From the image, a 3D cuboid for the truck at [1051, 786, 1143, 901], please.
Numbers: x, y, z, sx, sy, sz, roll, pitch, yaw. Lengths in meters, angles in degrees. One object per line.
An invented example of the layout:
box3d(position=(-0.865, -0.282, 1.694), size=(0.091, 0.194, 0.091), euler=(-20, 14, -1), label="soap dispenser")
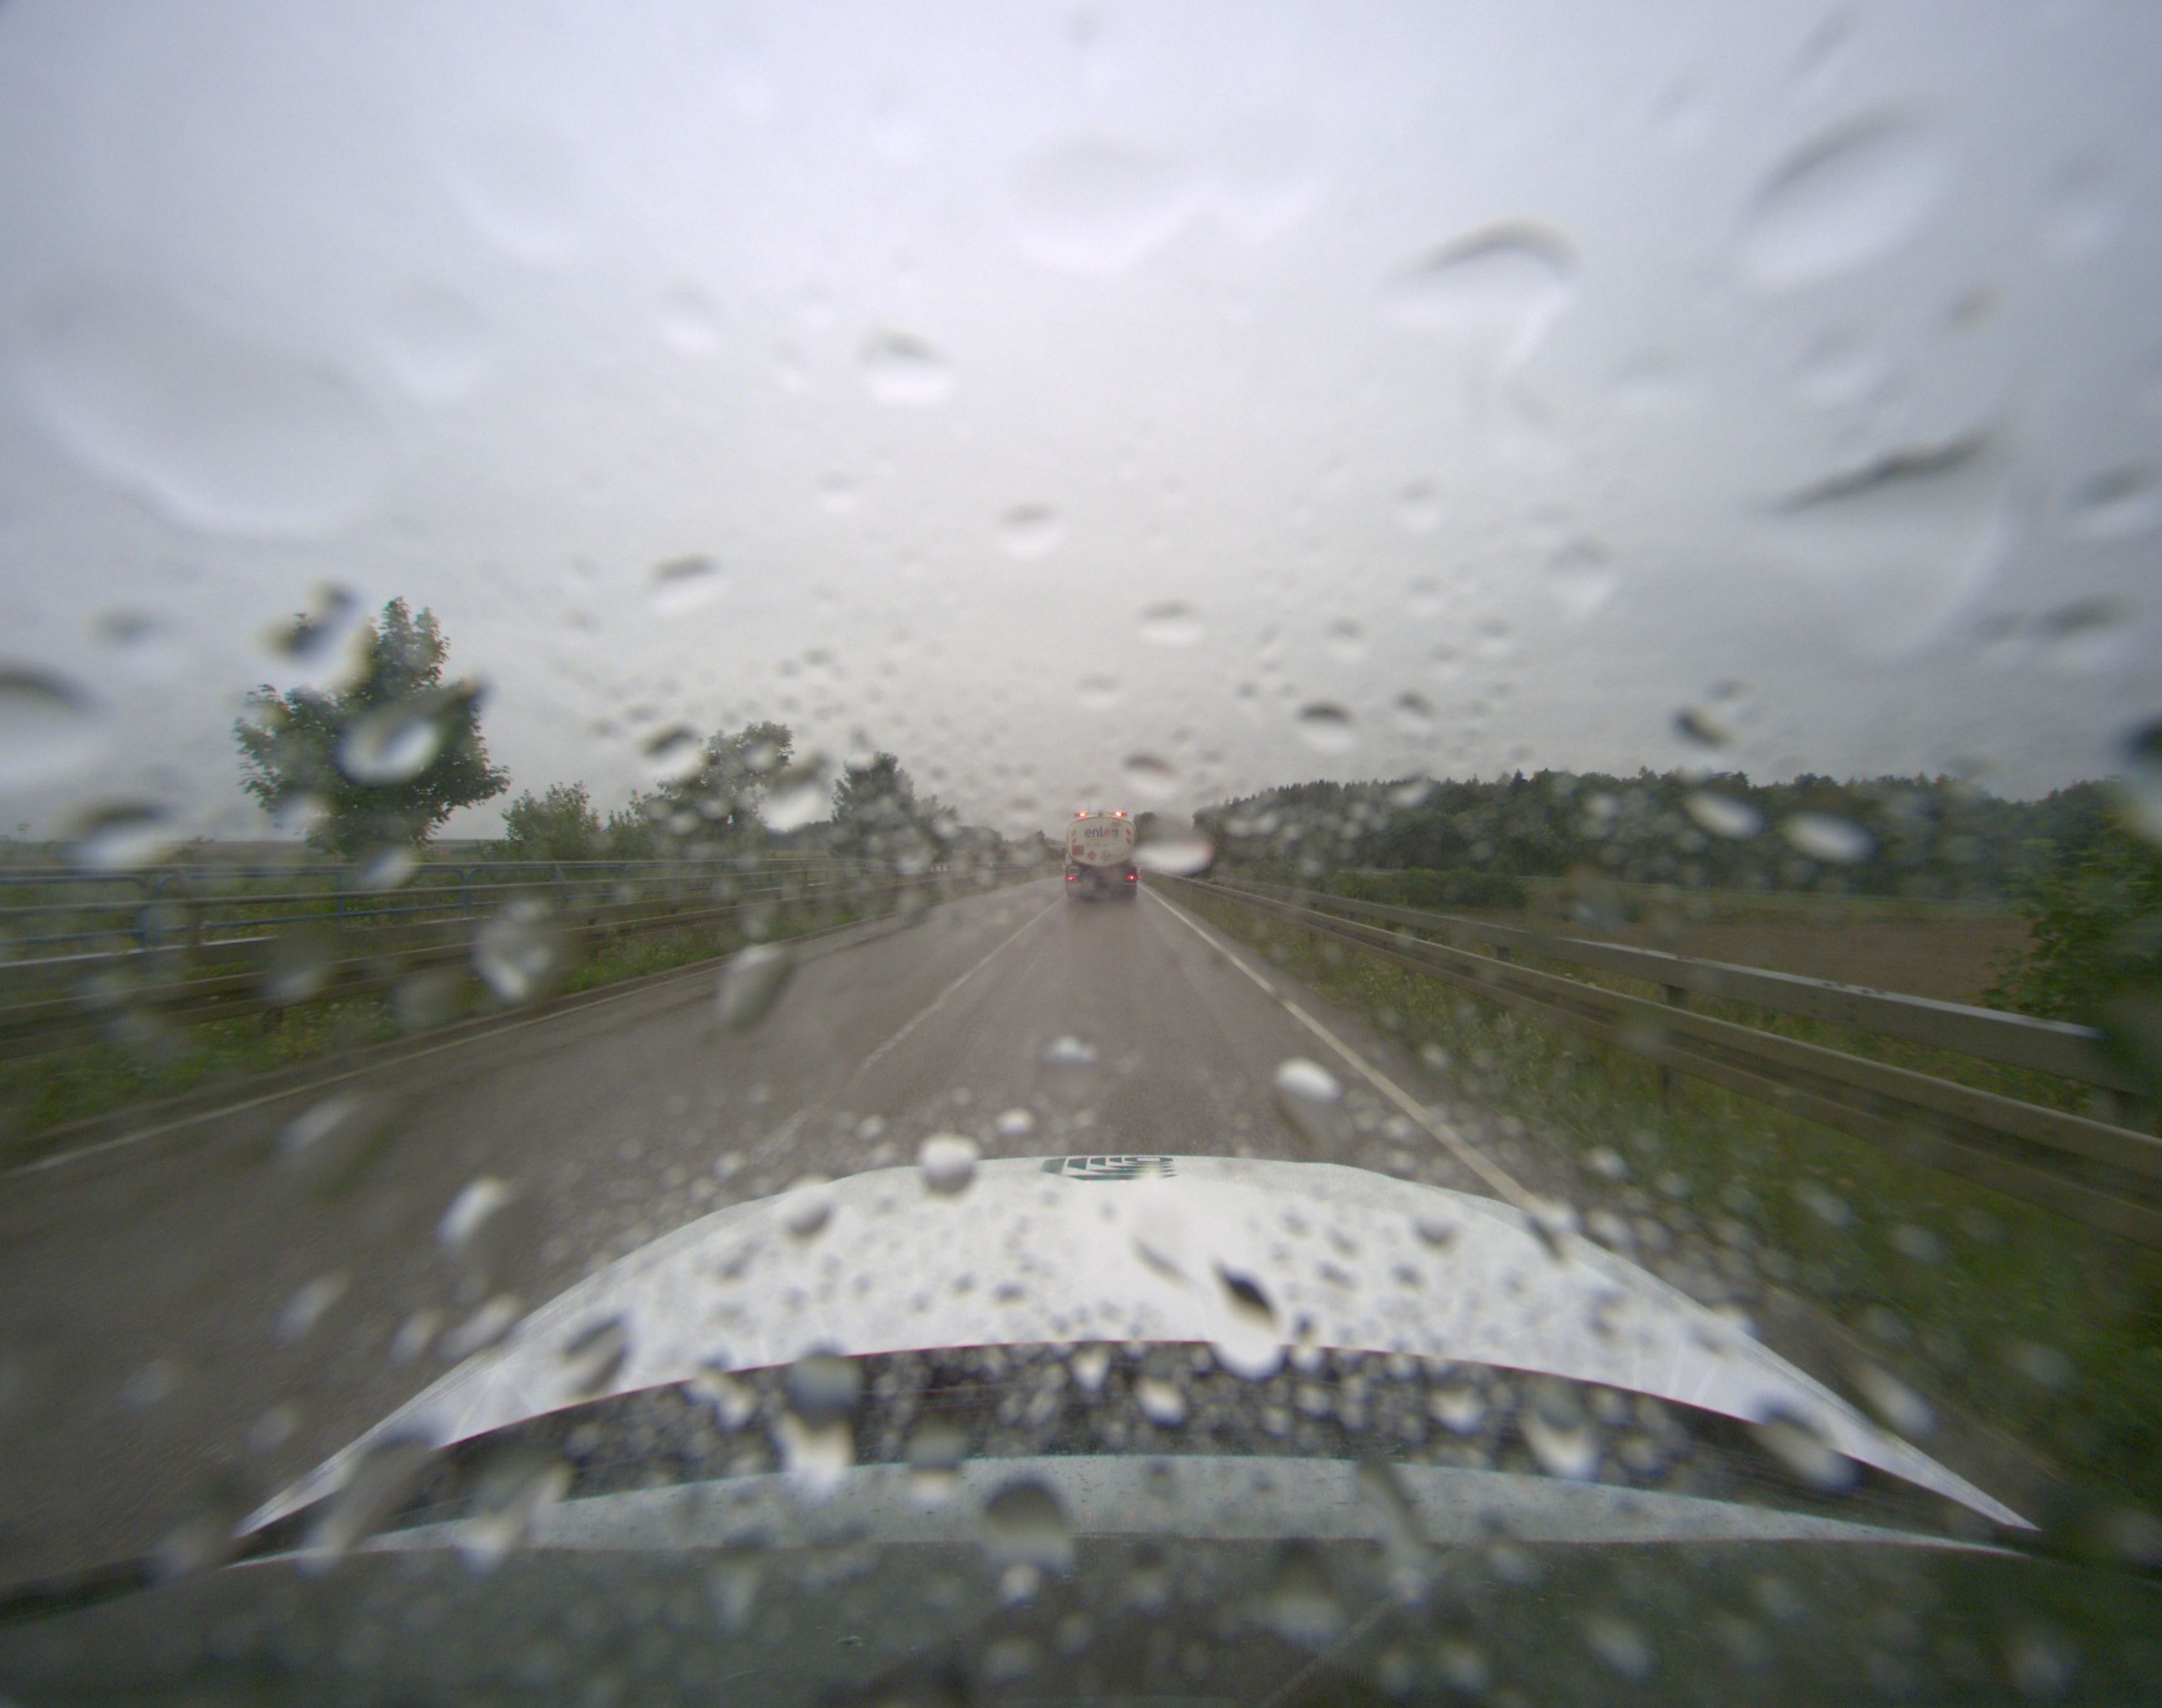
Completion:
box3d(position=(0.743, -0.339, 31.866), size=(3.027, 3.852, 8.828), euler=(-1, 0, 3), label="truck")
